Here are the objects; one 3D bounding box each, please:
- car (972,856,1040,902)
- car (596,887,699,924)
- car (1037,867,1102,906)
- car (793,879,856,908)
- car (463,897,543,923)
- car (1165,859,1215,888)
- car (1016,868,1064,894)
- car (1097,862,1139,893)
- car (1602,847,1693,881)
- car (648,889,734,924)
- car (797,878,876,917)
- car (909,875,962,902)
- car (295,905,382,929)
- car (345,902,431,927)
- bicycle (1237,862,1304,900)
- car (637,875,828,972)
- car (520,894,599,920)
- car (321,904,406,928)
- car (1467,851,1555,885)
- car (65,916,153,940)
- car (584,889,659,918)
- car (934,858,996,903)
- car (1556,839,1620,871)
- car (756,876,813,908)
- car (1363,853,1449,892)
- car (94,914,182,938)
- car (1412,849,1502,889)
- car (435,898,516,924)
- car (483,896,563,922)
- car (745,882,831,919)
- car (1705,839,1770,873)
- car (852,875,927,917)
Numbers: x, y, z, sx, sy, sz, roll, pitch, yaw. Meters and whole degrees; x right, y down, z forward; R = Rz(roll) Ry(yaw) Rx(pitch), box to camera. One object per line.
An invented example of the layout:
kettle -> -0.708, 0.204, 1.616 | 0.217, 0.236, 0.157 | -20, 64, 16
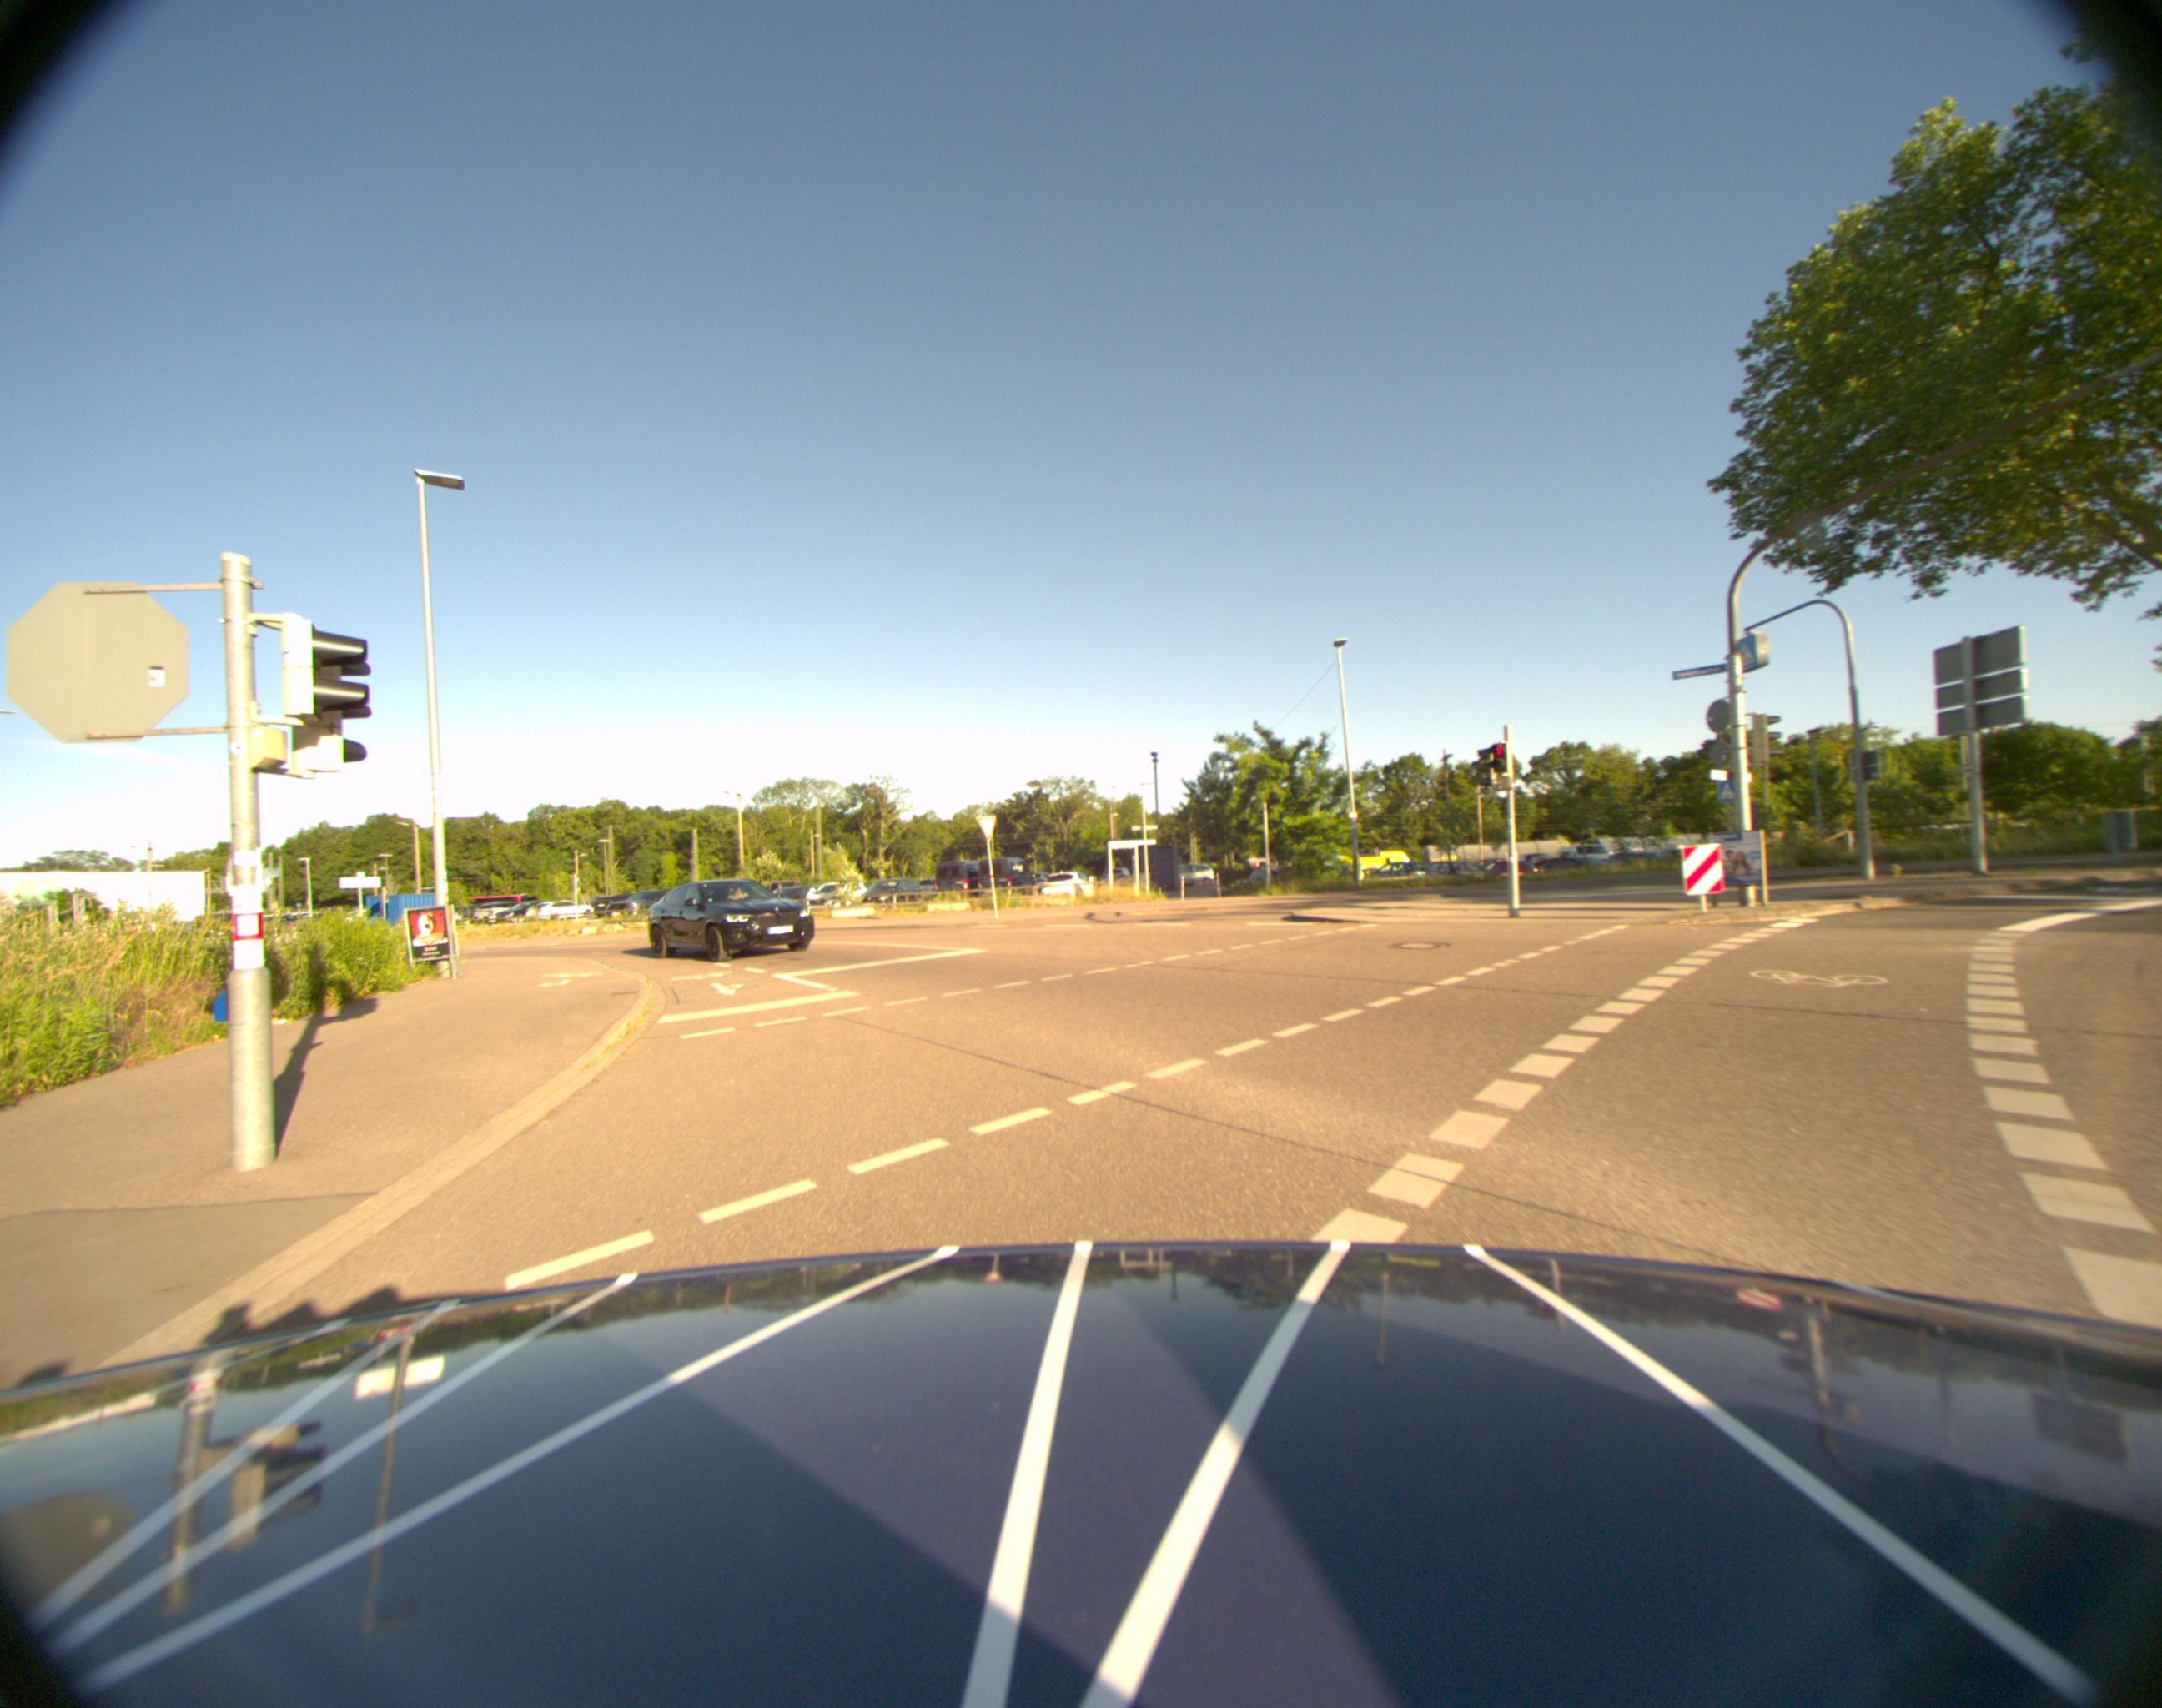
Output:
car -> -4.430, 1.418, 45.948 | 2.398, 2.501, 5.518 | -3, -1, 12
car -> -22.386, 2.620, 39.436 | 2.065, 1.732, 4.545 | -4, -3, 13
car -> -0.445, 1.418, 34.593 | 1.888, 1.502, 4.278 | -3, -1, 14
car -> -16.710, 2.539, 49.707 | 1.996, 1.584, 4.005 | -4, -1, 14
car -> -42.332, 4.059, 55.815 | 1.866, 1.457, 4.450 | -4, 0, 12
car -> 7.238, 1.276, 51.085 | 2.177, 1.720, 4.490 | -3, -1, -6
car -> -2.725, 1.805, 51.649 | 1.983, 1.490, 4.208 | -3, -1, 16
car -> 2.515, 1.515, 50.440 | 1.983, 1.798, 4.207 | -4, 0, 13
car -> 27.707, 0.478, 37.347 | 1.997, 1.466, 4.003 | -3, -1, 11
car -> -19.695, 2.618, 38.559 | 1.836, 1.445, 3.928 | -3, -1, 10
car -> -11.715, 2.054, 36.664 | 1.884, 1.601, 4.061 | -3, -1, 10
car -> -9.230, 2.185, 48.531 | 1.831, 1.499, 3.756 | -4, -1, 14
car -> -57.655, 4.878, 59.120 | 1.866, 1.369, 4.450 | -4, 0, 12
car -> -52.844, 4.587, 58.061 | 1.944, 1.369, 4.450 | -4, 0, 12
bicycle -> 8.689, 1.271, 35.046 | 0.908, 1.606, 2.949 | -4, 0, -40
car -> -7.773, 1.443, 16.712 | 4.738, 1.704, 2.052 | -3, 0, 43
car -> -37.184, 3.765, 54.319 | 1.866, 1.369, 4.450 | -4, 0, 12
car -> -55.345, 4.739, 58.711 | 1.866, 1.369, 4.450 | -4, 0, 12
car -> 20.407, 0.654, 36.233 | 1.729, 1.450, 3.999 | -3, -1, -3
car -> -82.359, 6.230, 64.450 | 1.759, 1.477, 4.161 | -4, 0, 10
car -> -31.907, 3.405, 52.908 | 1.983, 1.580, 4.206 | -4, 0, 12
car -> -6.995, 1.555, 46.308 | 2.125, 2.452, 4.486 | -3, -1, 12
car -> 31.744, 0.053, 47.725 | 2.195, 1.827, 5.033 | -4, -1, 21
car -> -19.561, 2.476, 50.319 | 1.769, 1.723, 3.781 | -3, 1, 8
car -> 15.349, 0.867, 36.095 | 2.014, 1.655, 3.849 | -3, -1, -8
car -> -79.962, 6.075, 64.516 | 1.825, 1.538, 4.301 | -4, 0, 11
car -> 17.716, 0.714, 36.000 | 1.841, 1.673, 3.998 | -3, -1, -8
car -> -44.902, 4.221, 56.517 | 1.866, 1.420, 4.450 | -4, 0, 12
car -> -39.936, 3.932, 54.515 | 1.866, 1.434, 4.451 | -3, -1, 12
car -> -14.306, 2.230, 37.366 | 1.852, 1.506, 4.005 | -4, -1, 15
car -> 39.131, 0.087, 45.381 | 1.735, 1.827, 4.045 | -4, -1, 23
car -> -8.987, 1.950, 36.028 | 1.870, 1.645, 4.148 | -4, 0, 10
